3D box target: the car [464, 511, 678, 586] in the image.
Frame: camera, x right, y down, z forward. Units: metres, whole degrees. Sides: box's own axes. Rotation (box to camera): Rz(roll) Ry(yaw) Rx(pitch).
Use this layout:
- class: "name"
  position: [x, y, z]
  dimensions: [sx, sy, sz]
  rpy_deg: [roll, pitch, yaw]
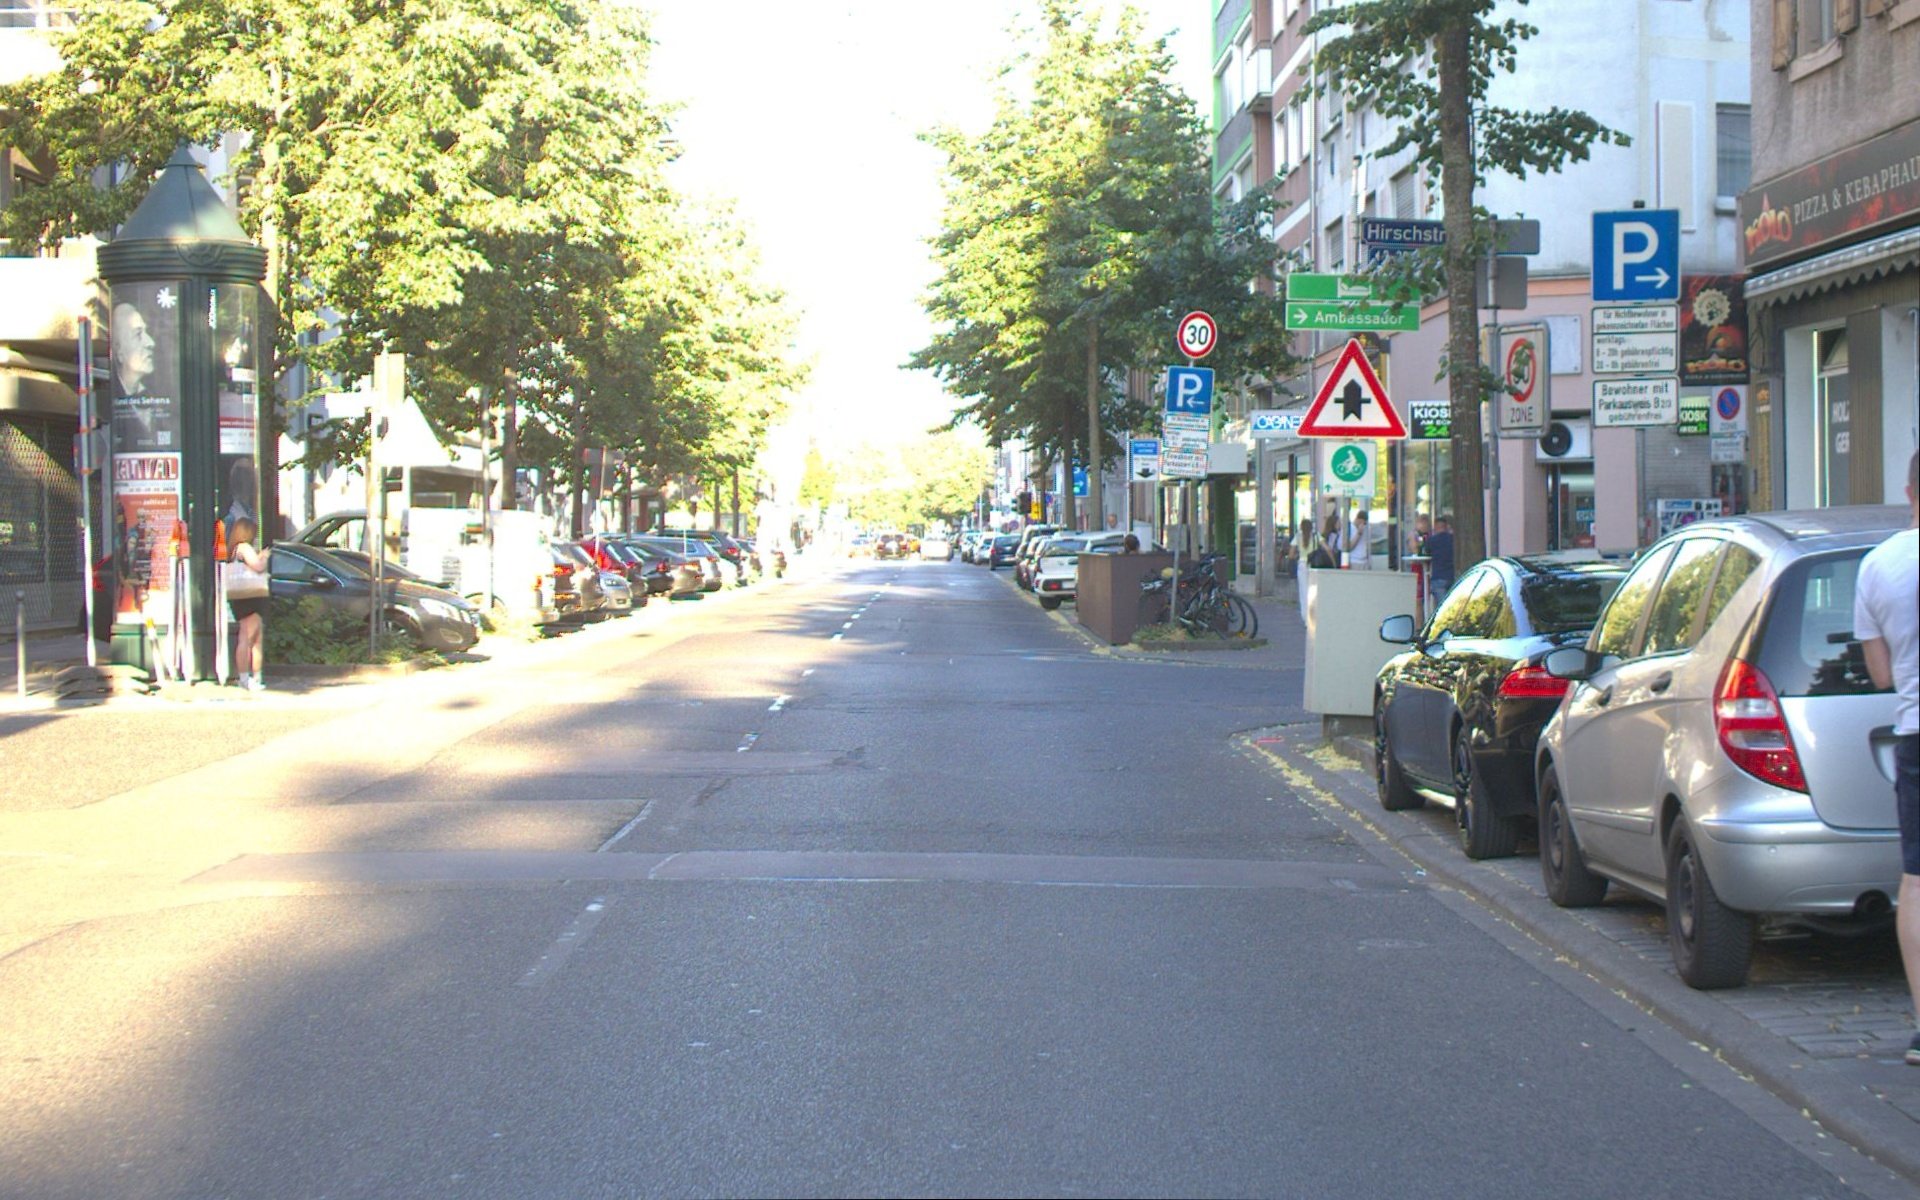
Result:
- class: "car"
  position: [-8.468, -1.120, 75.060]
  dimensions: [4.442, 1.562, 1.919]
  rpy_deg: [1, 1, 0]

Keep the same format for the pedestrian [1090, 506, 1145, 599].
- class: "pedestrian"
  position: [3.312, -1.009, 72.568]
  dimensions: [0.916, 1.919, 1.018]
  rpy_deg: [1, 1, -10]

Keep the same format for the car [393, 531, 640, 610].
- class: "car"
  position: [-8.401, -0.568, 65.365]
  dimensions: [4.442, 1.453, 1.859]
  rpy_deg: [1, 1, 0]

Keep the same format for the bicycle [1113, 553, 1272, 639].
- class: "bicycle"
  position: [3.008, -0.061, 44.526]
  dimensions: [1.958, 1.070, 0.704]
  rpy_deg: [1, 1, 31]

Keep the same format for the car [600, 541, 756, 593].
- class: "car"
  position: [-8.347, -0.996, 102.082]
  dimensions: [4.442, 1.494, 1.919]
  rpy_deg: [1, 1, 0]

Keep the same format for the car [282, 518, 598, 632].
- class: "car"
  position: [-8.022, -0.393, 53.380]
  dimensions: [4.571, 1.692, 2.060]
  rpy_deg: [1, 1, 1]

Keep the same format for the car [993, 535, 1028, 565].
- class: "car"
  position: [2.181, -2.152, 148.749]
  dimensions: [1.513, 1.271, 3.304]
  rpy_deg: [0, 1, 1]

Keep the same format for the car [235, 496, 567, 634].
- class: "car"
  position: [-8.194, -0.520, 50.708]
  dimensions: [4.571, 1.955, 1.991]
  rpy_deg: [1, 1, 0]

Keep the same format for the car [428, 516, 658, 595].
- class: "car"
  position: [-8.499, -0.916, 70.348]
  dimensions: [4.442, 1.562, 1.919]
  rpy_deg: [1, 1, 0]

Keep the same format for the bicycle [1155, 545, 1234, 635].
- class: "bicycle"
  position: [3.143, -0.146, 45.985]
  dimensions: [0.598, 1.173, 1.844]
  rpy_deg: [0, 1, 19]

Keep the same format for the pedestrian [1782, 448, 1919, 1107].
- class: "pedestrian"
  position: [2.792, 0.459, 9.576]
  dimensions: [0.677, 1.748, 0.825]
  rpy_deg: [-1, 1, -11]

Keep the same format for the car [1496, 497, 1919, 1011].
- class: "car"
  position: [3.202, 0.429, 12.859]
  dimensions: [1.687, 1.569, 4.013]
  rpy_deg: [-3, 1, 0]

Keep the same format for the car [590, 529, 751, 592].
- class: "car"
  position: [-8.304, -1.143, 98.960]
  dimensions: [4.442, 1.753, 1.919]
  rpy_deg: [1, 1, 0]

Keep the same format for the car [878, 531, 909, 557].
- class: "car"
  position: [-4.032, -3.399, 209.120]
  dimensions: [1.752, 1.535, 3.304]
  rpy_deg: [0, 1, 1]

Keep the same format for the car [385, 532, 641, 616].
- class: "car"
  position: [-8.167, -0.485, 63.060]
  dimensions: [4.442, 1.479, 1.809]
  rpy_deg: [1, 1, 0]

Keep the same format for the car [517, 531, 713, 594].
- class: "car"
  position: [-8.157, -0.894, 81.585]
  dimensions: [4.442, 1.443, 1.919]
  rpy_deg: [1, 1, 0]

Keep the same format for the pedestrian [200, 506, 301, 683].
- class: "pedestrian"
  position: [-6.831, -0.060, 33.125]
  dimensions: [0.710, 1.680, 0.833]
  rpy_deg: [0, 1, 9]

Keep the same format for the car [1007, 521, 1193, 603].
- class: "car"
  position: [2.851, -0.777, 69.303]
  dimensions: [1.674, 1.583, 3.814]
  rpy_deg: [2, 2, 43]

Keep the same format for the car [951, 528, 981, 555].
- class: "car"
  position: [0.356, -3.405, 201.362]
  dimensions: [1.752, 1.535, 3.304]
  rpy_deg: [0, 1, 1]

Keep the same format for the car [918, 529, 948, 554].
- class: "car"
  position: [-1.630, -3.496, 206.710]
  dimensions: [1.721, 1.470, 3.304]
  rpy_deg: [0, 1, 1]

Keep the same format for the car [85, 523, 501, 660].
- class: "car"
  position: [-7.774, -0.112, 40.383]
  dimensions: [4.546, 1.536, 1.811]
  rpy_deg: [1, 1, -1]

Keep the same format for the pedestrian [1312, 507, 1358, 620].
- class: "pedestrian"
  position: [5.582, -0.549, 51.263]
  dimensions: [0.631, 1.674, 0.892]
  rpy_deg: [0, 1, 3]

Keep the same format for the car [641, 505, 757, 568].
- class: "car"
  position: [-10.340, -2.520, 136.399]
  dimensions: [4.442, 2.426, 1.919]
  rpy_deg: [0, 1, 0]

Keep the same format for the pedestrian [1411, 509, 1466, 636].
- class: "pedestrian"
  position: [6.080, -0.355, 43.680]
  dimensions: [0.567, 1.578, 0.663]
  rpy_deg: [-2, 2, 0]

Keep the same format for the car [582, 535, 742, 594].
- class: "car"
  position: [-8.368, -1.003, 96.859]
  dimensions: [4.304, 1.592, 1.919]
  rpy_deg: [1, 1, 0]

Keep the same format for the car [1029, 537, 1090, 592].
- class: "car"
  position: [2.566, -0.931, 89.383]
  dimensions: [1.513, 1.401, 3.837]
  rpy_deg: [0, 1, 1]

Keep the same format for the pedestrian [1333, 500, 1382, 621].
- class: "pedestrian"
  position: [5.955, -0.596, 51.505]
  dimensions: [0.698, 1.798, 0.891]
  rpy_deg: [0, 1, 8]

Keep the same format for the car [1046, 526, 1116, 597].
- class: "car"
  position: [2.715, -0.877, 77.529]
  dimensions: [1.513, 1.572, 3.218]
  rpy_deg: [0, 1, 1]

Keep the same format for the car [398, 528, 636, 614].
- class: "car"
  position: [-8.749, -0.582, 68.122]
  dimensions: [4.442, 1.633, 1.859]
  rpy_deg: [1, 1, 0]

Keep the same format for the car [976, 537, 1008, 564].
- class: "car"
  position: [1.560, -2.397, 166.955]
  dimensions: [1.513, 1.259, 3.304]
  rpy_deg: [0, 1, 1]

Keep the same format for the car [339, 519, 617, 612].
- class: "car"
  position: [-8.159, -0.592, 58.436]
  dimensions: [4.442, 1.501, 1.845]
  rpy_deg: [1, 1, 0]

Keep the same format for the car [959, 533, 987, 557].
- class: "car"
  position: [0.726, -3.028, 189.743]
  dimensions: [1.513, 1.294, 3.304]
  rpy_deg: [0, 1, 1]

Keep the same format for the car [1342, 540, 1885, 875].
- class: "car"
  position: [3.137, 0.434, 17.429]
  dimensions: [1.785, 1.370, 4.524]
  rpy_deg: [-3, 1, -1]

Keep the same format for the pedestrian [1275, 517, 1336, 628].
- class: "pedestrian"
  position: [5.085, -0.416, 50.587]
  dimensions: [0.797, 1.620, 0.911]
  rpy_deg: [0, 1, 12]

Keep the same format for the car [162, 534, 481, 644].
- class: "car"
  position: [-8.455, -0.143, 45.736]
  dimensions: [3.791, 1.387, 2.043]
  rpy_deg: [1, 0, 3]

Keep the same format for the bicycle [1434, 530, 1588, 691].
- class: "bicycle"
  position: [3.997, 0.064, 25.081]
  dimensions: [0.778, 1.108, 1.899]
  rpy_deg: [-2, 1, 0]

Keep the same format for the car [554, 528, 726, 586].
- class: "car"
  position: [-8.580, -1.162, 92.457]
  dimensions: [4.442, 1.517, 1.919]
  rpy_deg: [1, 1, 0]

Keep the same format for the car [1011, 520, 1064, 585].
- class: "car"
  position: [2.268, -1.400, 101.150]
  dimensions: [1.513, 1.858, 4.235]
  rpy_deg: [0, 1, 1]

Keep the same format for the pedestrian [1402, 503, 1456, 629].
- class: "pedestrian"
  position: [6.062, -0.441, 44.442]
  dimensions: [0.567, 1.594, 0.663]
  rpy_deg: [-2, 2, 0]
